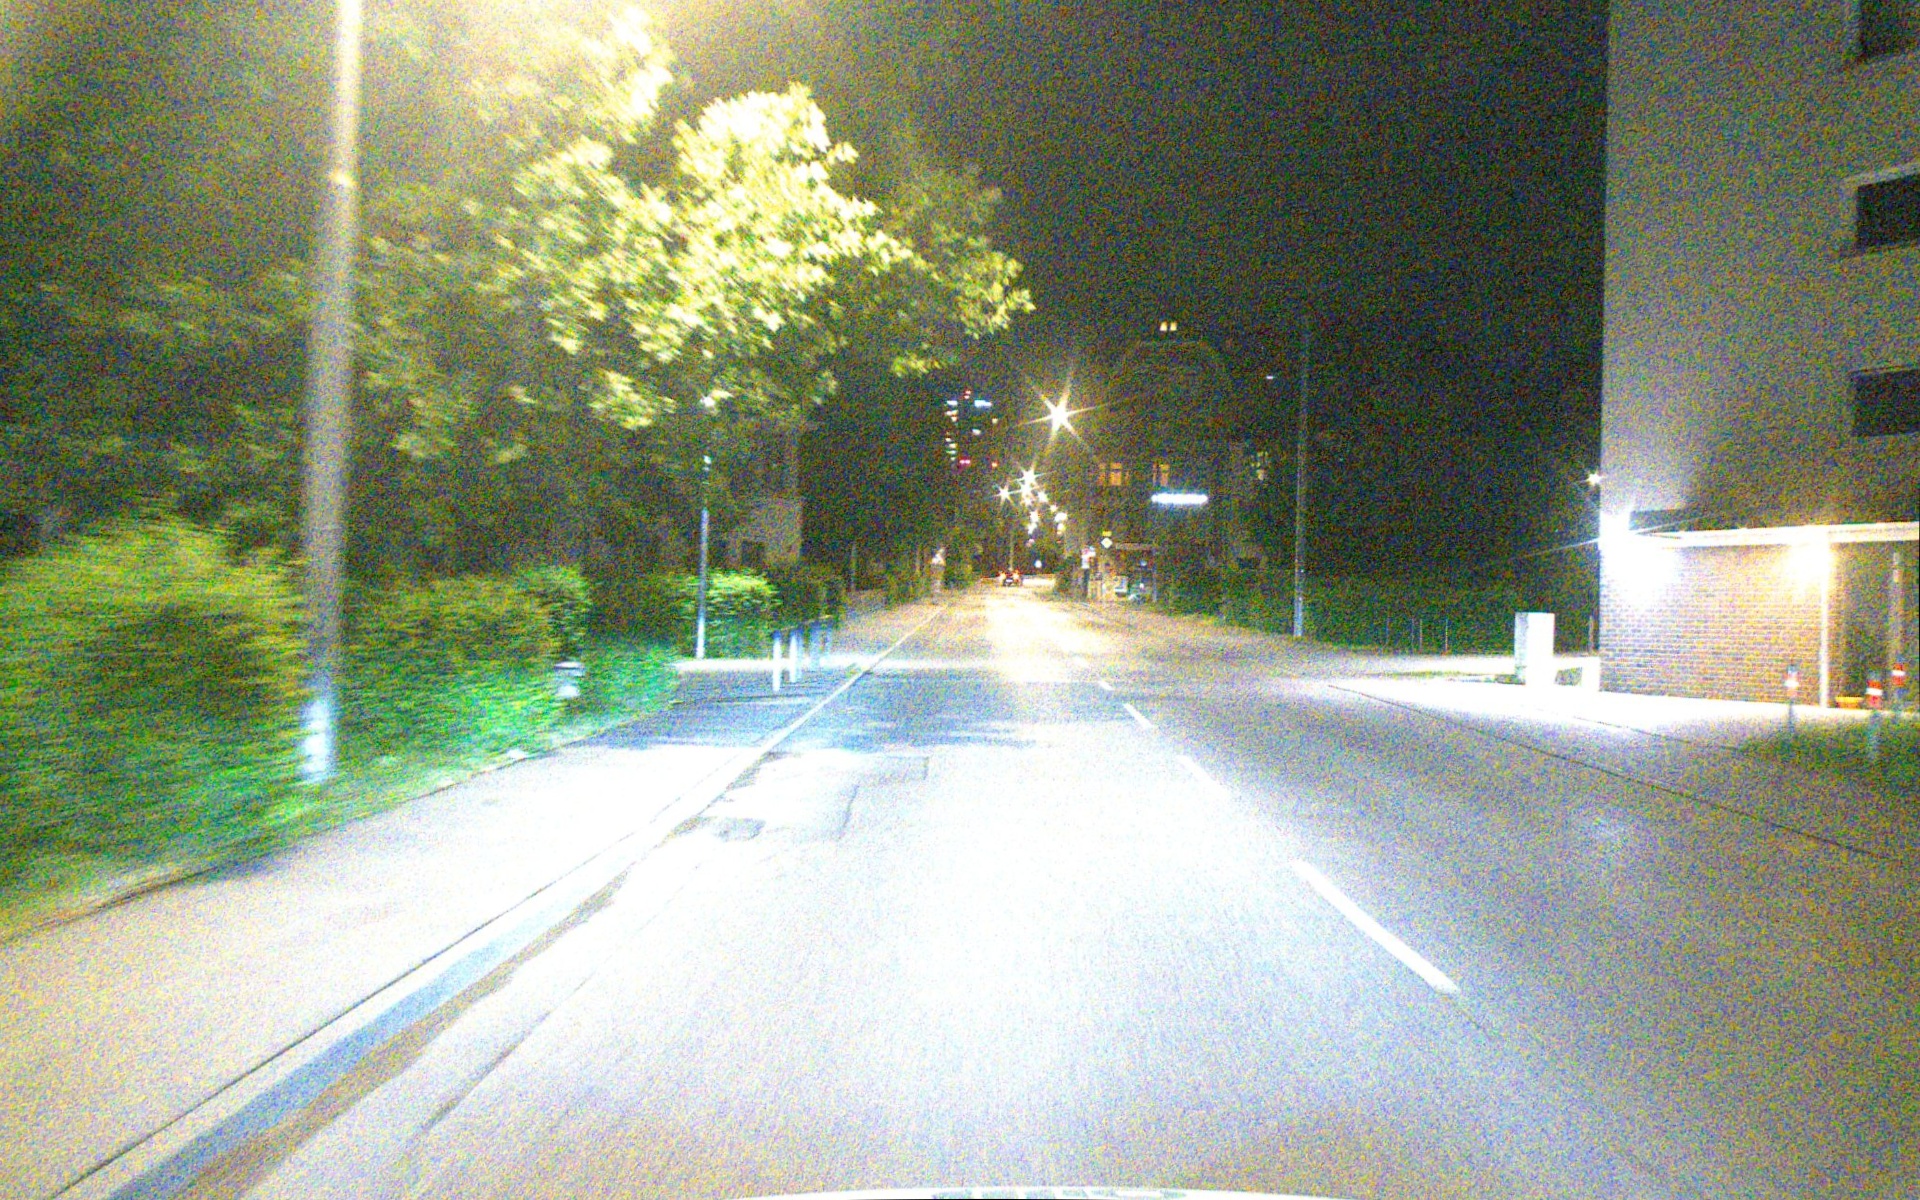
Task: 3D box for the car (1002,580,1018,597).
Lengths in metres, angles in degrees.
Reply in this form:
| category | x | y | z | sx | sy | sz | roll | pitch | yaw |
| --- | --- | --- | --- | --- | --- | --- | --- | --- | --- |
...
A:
| category | x | y | z | sx | sy | sz | roll | pitch | yaw |
| --- | --- | --- | --- | --- | --- | --- | --- | --- | --- |
| car | 5.924 | -1.309 | 196.209 | 1.885 | 1.887 | 4.000 | 0 | -1 | 1 |
